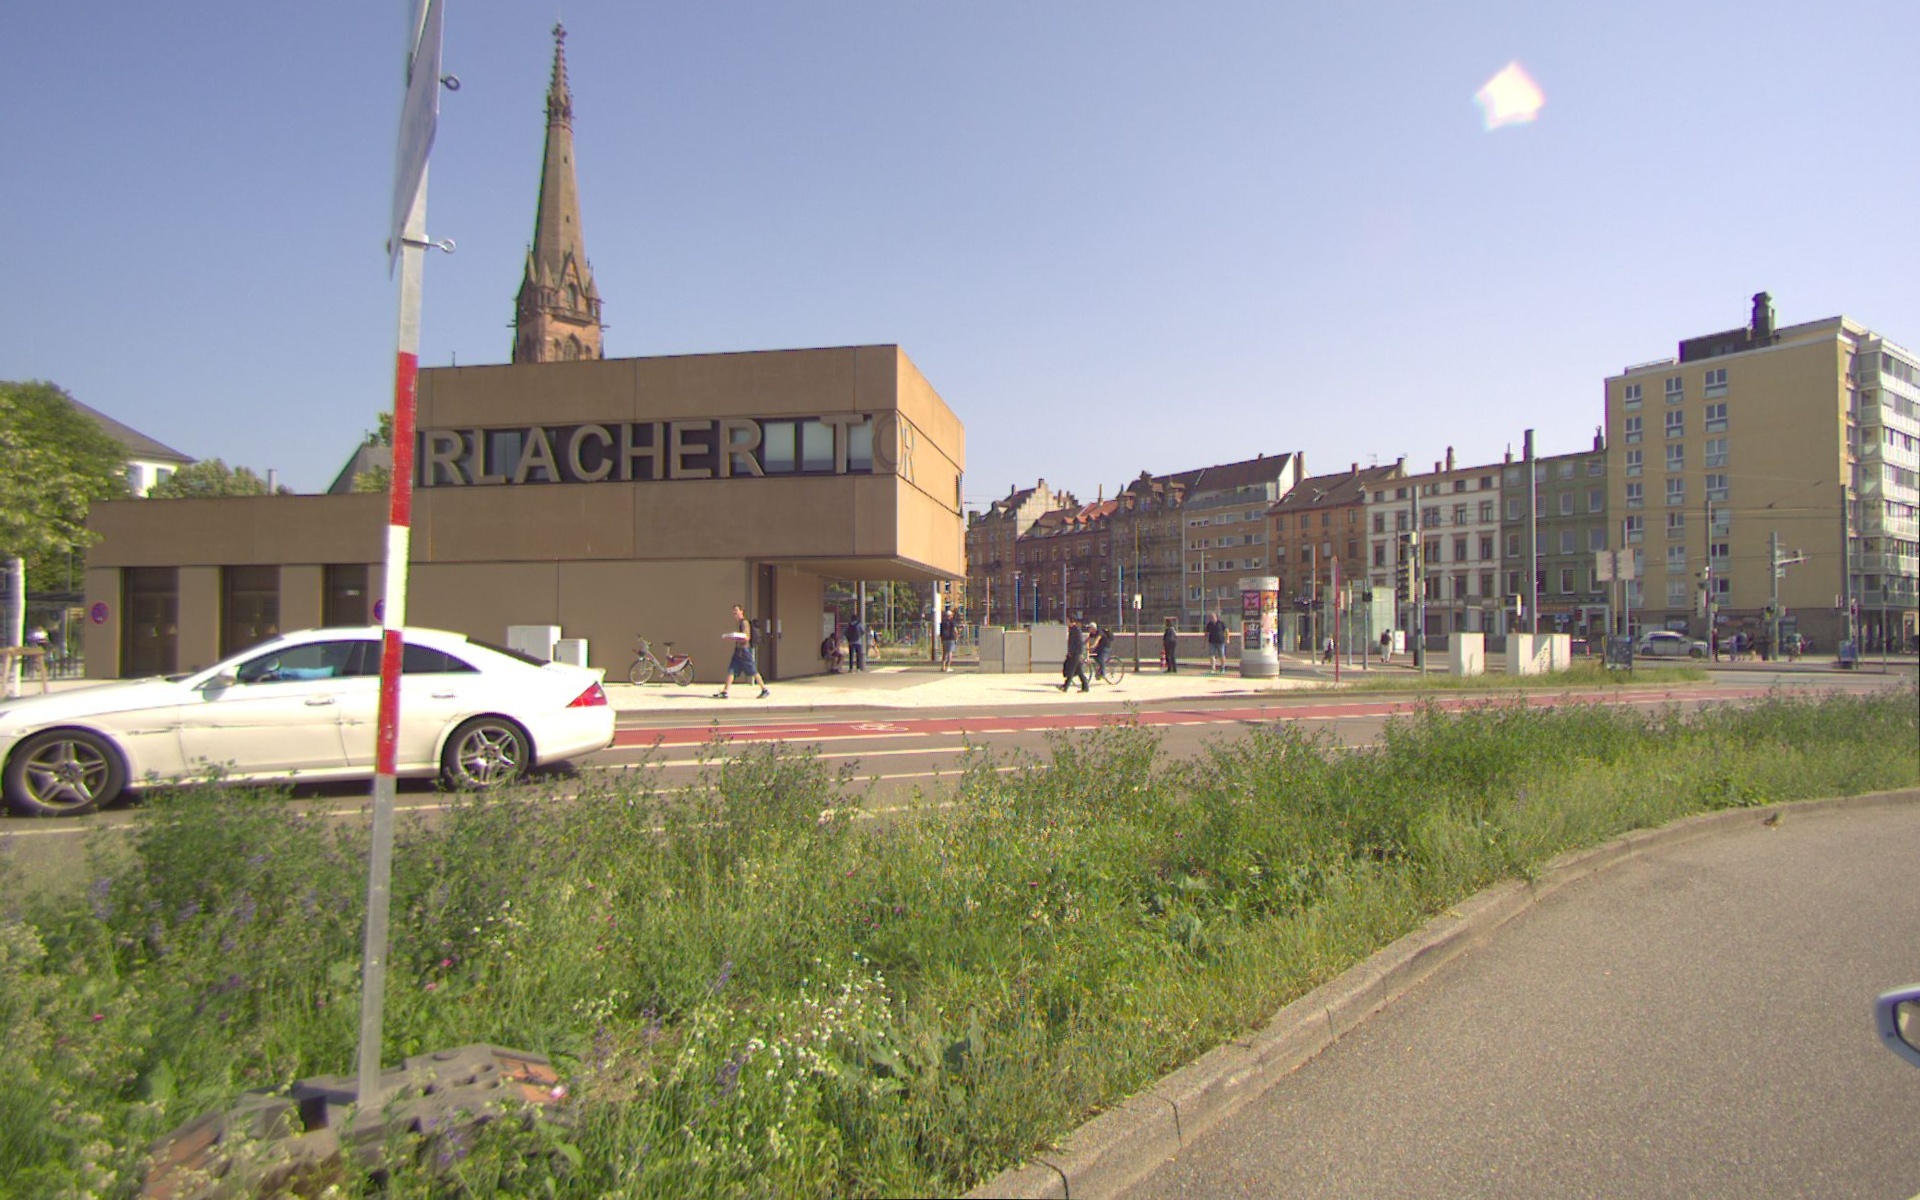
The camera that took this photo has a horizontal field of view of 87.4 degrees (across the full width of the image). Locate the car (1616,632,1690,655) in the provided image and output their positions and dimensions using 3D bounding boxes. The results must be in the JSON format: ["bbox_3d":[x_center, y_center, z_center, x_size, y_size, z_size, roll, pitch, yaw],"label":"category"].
[{"bbox_3d":[45.440,2.837,65.928,1.570,1.411,3.716,1,-2,-33],"label":"car"}]

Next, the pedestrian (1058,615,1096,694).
[{"bbox_3d":[2.781,1.289,23.971,0.831,1.802,0.877,-2,0,6],"label":"pedestrian"}]

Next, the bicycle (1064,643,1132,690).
[{"bbox_3d":[3.665,1.747,26.622,1.829,1.078,0.559,-2,1,-30],"label":"bicycle"}]

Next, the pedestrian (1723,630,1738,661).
[{"bbox_3d":[43.360,2.545,56.527,0.539,1.707,0.454,-2,0,-22],"label":"pedestrian"}]

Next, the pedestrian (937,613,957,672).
[{"bbox_3d":[-0.412,1.354,32.148,0.547,1.843,0.392,-2,0,-8],"label":"pedestrian"}]

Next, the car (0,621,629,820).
[{"bbox_3d":[-5.555,0.936,8.881,4.759,1.379,1.835,2,-1,-28],"label":"car"}]

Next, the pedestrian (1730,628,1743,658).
[{"bbox_3d":[44.228,2.456,57.216,0.447,1.707,0.440,-2,0,18],"label":"pedestrian"}]

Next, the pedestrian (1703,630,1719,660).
[{"bbox_3d":[42.605,2.553,56.979,0.537,1.707,0.455,-2,0,-9],"label":"pedestrian"}]

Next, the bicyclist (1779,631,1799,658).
[{"bbox_3d":[45.402,2.423,55.005,0.684,1.453,0.720,1,-2,-37],"label":"bicyclist"}]

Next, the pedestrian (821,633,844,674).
[{"bbox_3d":[-3.665,1.532,28.944,0.513,1.187,0.596,0,-2,9],"label":"pedestrian"}]

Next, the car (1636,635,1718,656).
[{"bbox_3d":[44.246,2.790,62.048,1.559,1.195,3.808,3,-3,-32],"label":"car"}]

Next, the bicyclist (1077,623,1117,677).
[{"bbox_3d":[3.631,1.312,26.597,0.872,1.380,0.559,-2,1,-30],"label":"bicyclist"}]

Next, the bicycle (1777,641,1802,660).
[{"bbox_3d":[45.439,2.771,55.028,1.716,0.997,0.722,1,-2,-38],"label":"bicycle"}]

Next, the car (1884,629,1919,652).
[{"bbox_3d":[69.894,2.919,72.820,1.774,1.578,3.920,-2,0,-32],"label":"car"}]

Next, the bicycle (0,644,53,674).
[{"bbox_3d":[-32.366,2.039,34.738,1.837,1.022,0.462,-1,-2,12],"label":"bicycle"}]

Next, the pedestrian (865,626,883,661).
[{"bbox_3d":[-3.967,2.008,46.175,0.783,1.612,0.692,0,-1,-3],"label":"pedestrian"}]

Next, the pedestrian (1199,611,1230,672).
[{"bbox_3d":[7.952,1.295,31.327,0.864,1.843,0.896,-2,0,16],"label":"pedestrian"}]

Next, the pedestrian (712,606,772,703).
[{"bbox_3d":[-4.147,1.015,19.126,0.668,1.783,0.876,0,-1,36],"label":"pedestrian"}]

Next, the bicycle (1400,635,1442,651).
[{"bbox_3d":[40.479,3.742,88.243,0.766,1.366,3.507,-2,0,-34],"label":"bicycle"}]

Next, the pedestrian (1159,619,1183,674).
[{"bbox_3d":[6.321,1.387,30.092,0.500,1.601,0.497,-2,0,-19],"label":"pedestrian"}]

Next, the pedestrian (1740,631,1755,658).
[{"bbox_3d":[44.732,2.548,57.050,0.489,1.507,0.440,-2,0,18],"label":"pedestrian"}]

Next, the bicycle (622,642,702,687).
[{"bbox_3d":[-6.678,1.442,22.540,1.580,0.968,0.661,0,0,9],"label":"bicycle"}]

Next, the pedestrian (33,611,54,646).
[{"bbox_3d":[-46.493,1.449,50.953,0.384,1.771,0.713,-2,-2,43],"label":"pedestrian"}]

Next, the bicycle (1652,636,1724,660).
[{"bbox_3d":[51.577,3.365,71.196,1.183,1.572,3.961,-2,0,-35],"label":"bicycle"}]

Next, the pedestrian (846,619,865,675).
[{"bbox_3d":[-3.290,1.465,31.634,0.523,1.718,0.607,-2,0,-4],"label":"pedestrian"}]

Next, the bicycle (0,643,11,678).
[{"bbox_3d":[-29.483,1.820,30.251,1.710,1.022,0.401,-1,-2,12],"label":"bicycle"}]

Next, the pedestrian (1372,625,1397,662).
[{"bbox_3d":[21.359,2.181,50.579,0.770,1.843,0.828,3,-2,-33],"label":"pedestrian"}]

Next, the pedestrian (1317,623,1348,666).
[{"bbox_3d":[18.240,2.158,49.219,1.011,2.040,0.953,-2,0,-33],"label":"pedestrian"}]

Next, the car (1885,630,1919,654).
[{"bbox_3d":[67.897,2.936,70.571,1.848,1.578,3.965,-2,0,-32],"label":"car"}]
